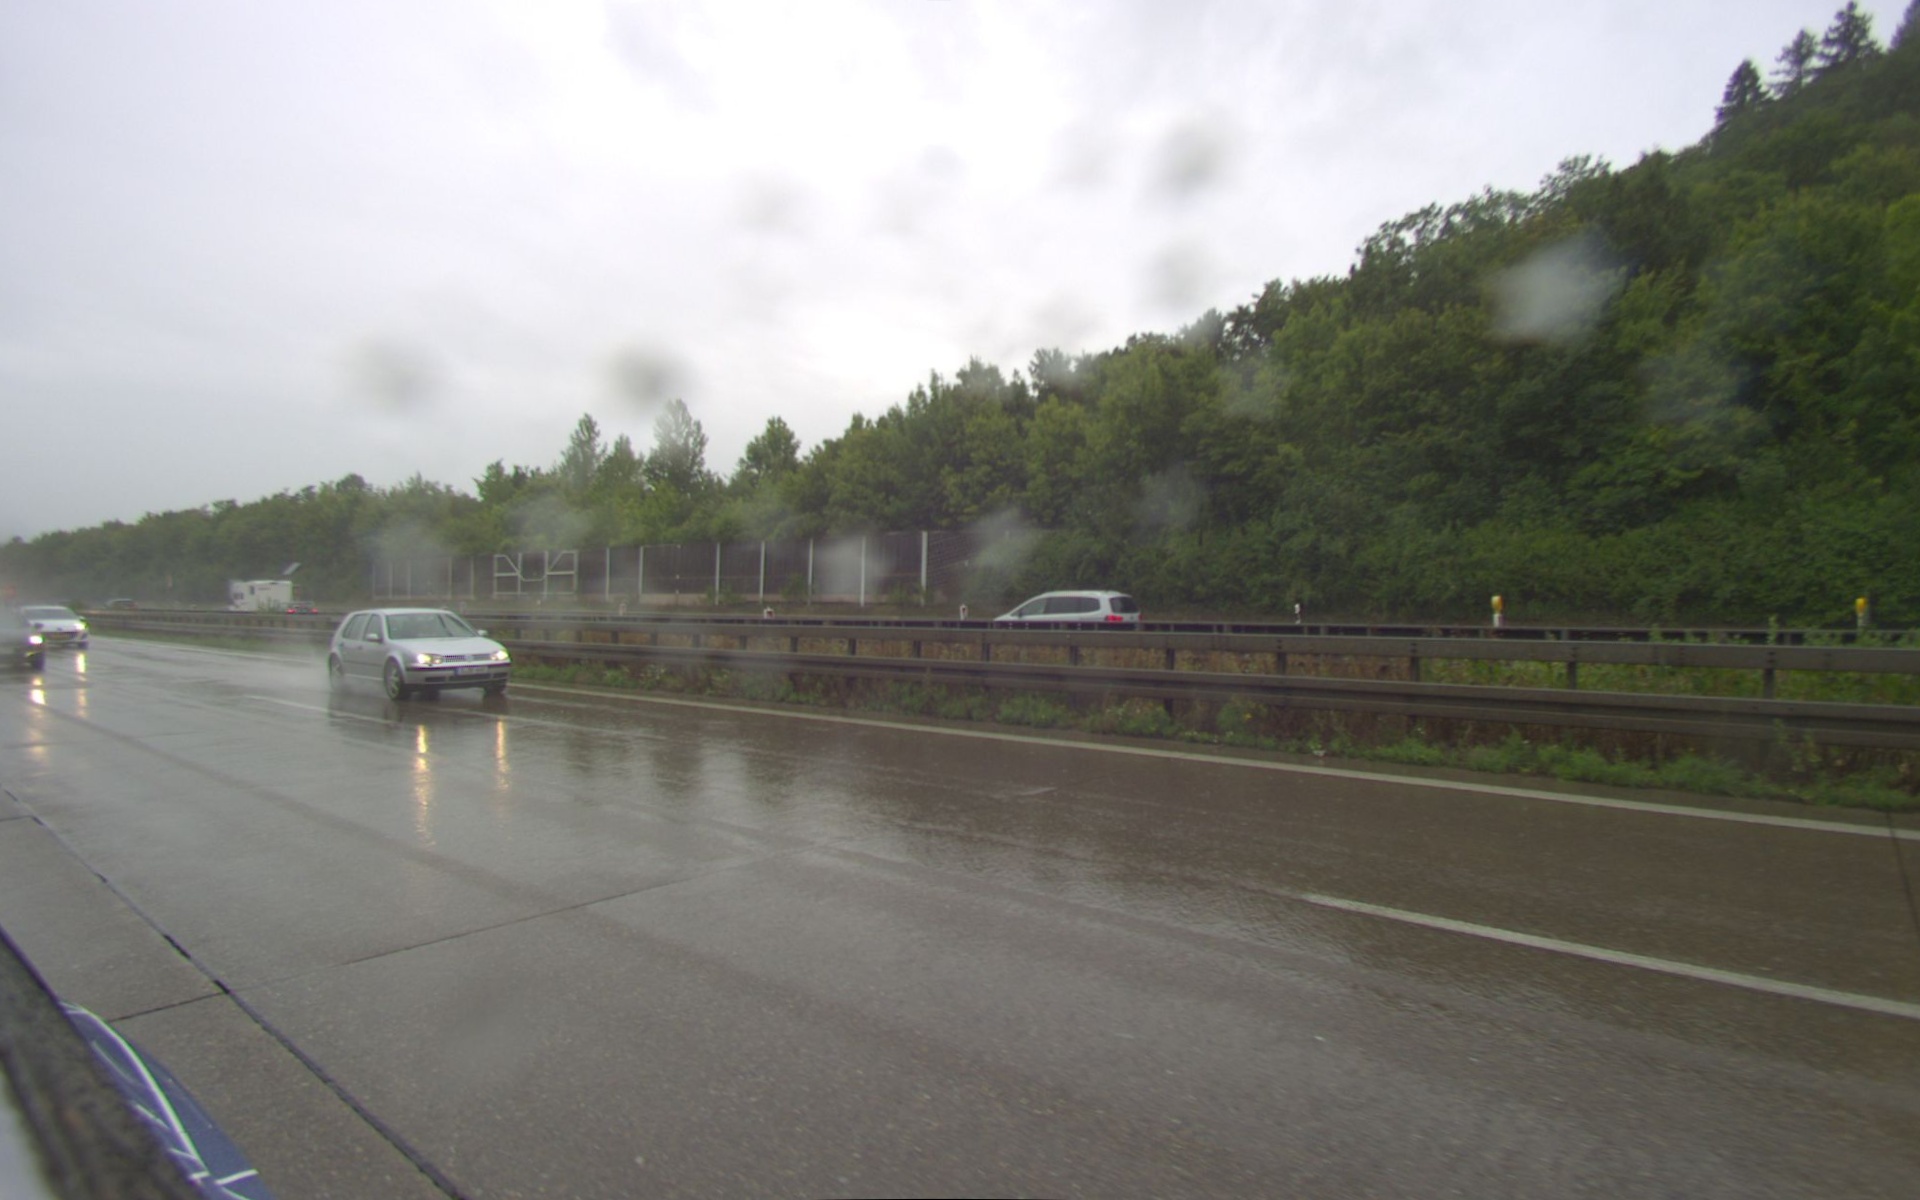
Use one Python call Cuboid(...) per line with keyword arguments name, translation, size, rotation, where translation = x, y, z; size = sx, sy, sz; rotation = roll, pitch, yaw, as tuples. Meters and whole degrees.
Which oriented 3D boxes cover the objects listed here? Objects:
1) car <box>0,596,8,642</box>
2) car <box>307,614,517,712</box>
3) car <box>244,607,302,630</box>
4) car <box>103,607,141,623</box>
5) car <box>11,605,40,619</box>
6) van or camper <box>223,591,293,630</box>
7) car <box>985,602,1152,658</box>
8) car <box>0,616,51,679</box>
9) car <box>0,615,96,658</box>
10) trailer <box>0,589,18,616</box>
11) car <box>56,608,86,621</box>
Cuboid(name="car", translation=(-57.800, 1.079, 59.344), size=(6.398, 2.651, 2.020), rotation=(-1, -3, 40))
Cuboid(name="car", translation=(-9.285, 0.970, 16.996), size=(4.348, 1.445, 1.650), rotation=(-1, -2, 41))
Cuboid(name="car", translation=(-41.686, 1.107, 61.355), size=(4.340, 1.313, 1.735), rotation=(-1, 1, 40))
Cuboid(name="car", translation=(-74.061, 1.350, 89.424), size=(4.340, 1.313, 1.735), rotation=(-1, 1, 40))
Cuboid(name="car", translation=(-109.291, 1.420, 118.321), size=(3.997, 1.697, 1.973), rotation=(-1, -1, 40))
Cuboid(name="van or camper", translation=(-52.018, 0.794, 74.937), size=(7.495, 2.739, 2.529), rotation=(-1, -1, 41))
Cuboid(name="car", translation=(2.964, 0.827, 28.199), size=(4.515, 1.445, 1.650), rotation=(-1, -2, 41))
Cuboid(name="car", translation=(-23.681, 1.101, 24.493), size=(4.515, 1.445, 1.909), rotation=(-1, -3, 41))
Cuboid(name="car", translation=(-32.236, 1.264, 35.704), size=(4.514, 1.445, 1.909), rotation=(-1, -3, 40))
Cuboid(name="trailer", translation=(-137.878, 0.436, 144.962), size=(13.770, 3.830, 2.739), rotation=(-1, 0, 41))
Cuboid(name="car", translation=(-93.231, 1.509, 106.105), size=(4.340, 1.313, 1.735), rotation=(-1, 1, 40))
